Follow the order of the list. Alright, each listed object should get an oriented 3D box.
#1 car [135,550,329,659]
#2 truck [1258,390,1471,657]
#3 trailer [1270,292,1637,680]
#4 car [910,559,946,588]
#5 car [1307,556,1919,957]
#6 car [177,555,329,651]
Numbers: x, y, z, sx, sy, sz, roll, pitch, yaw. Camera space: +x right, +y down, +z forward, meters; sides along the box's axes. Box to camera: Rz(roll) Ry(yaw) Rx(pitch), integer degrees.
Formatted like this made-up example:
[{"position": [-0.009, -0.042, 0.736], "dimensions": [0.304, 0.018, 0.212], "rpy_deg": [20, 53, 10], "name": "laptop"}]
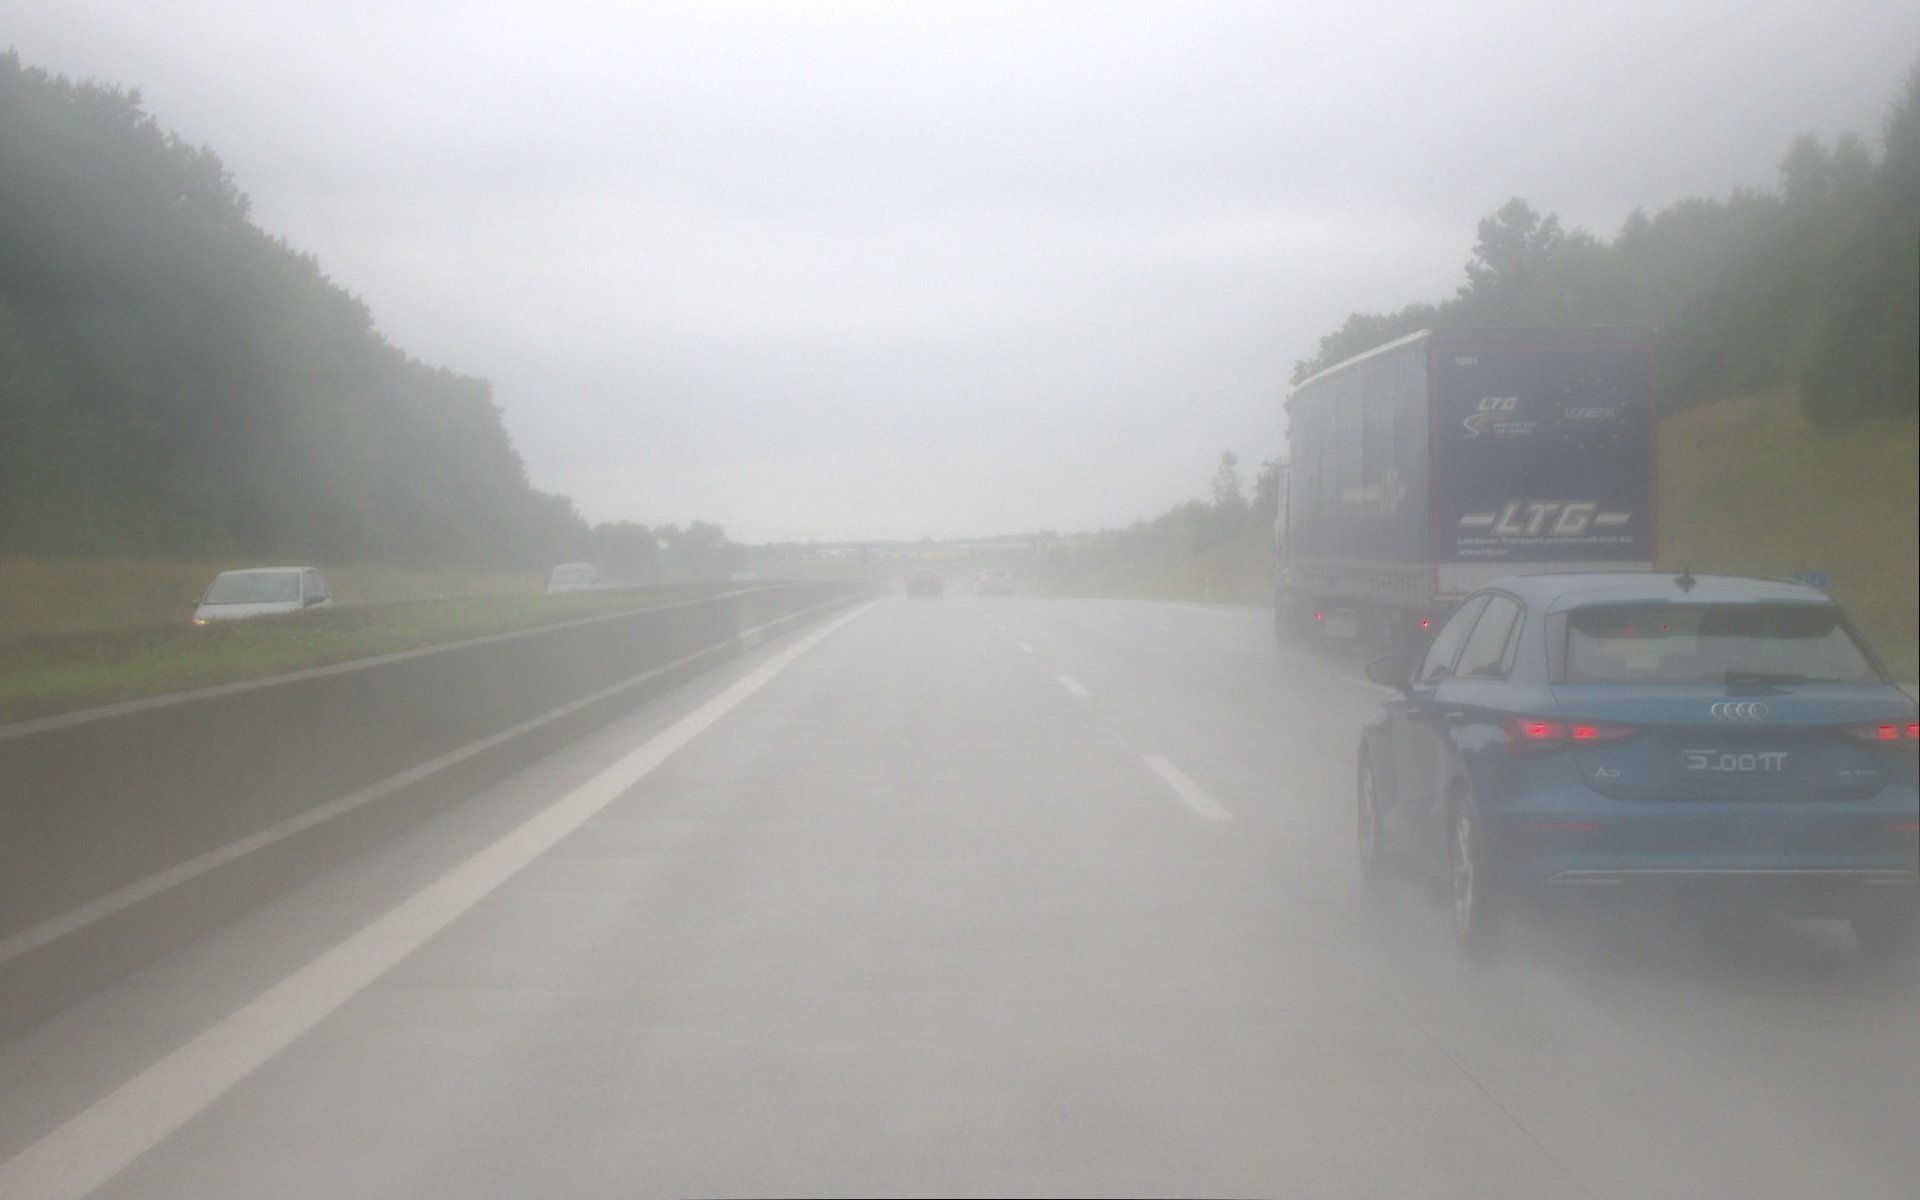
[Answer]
[{"position": [-9.603, 0.028, 45.638], "dimensions": [1.738, 1.329, 4.100], "rpy_deg": [-1, 1, -1], "name": "car"}, {"position": [6.246, -1.168, 53.890], "dimensions": [2.636, 3.940, 5.686], "rpy_deg": [1, 0, 0], "name": "truck"}, {"position": [6.275, -1.358, 46.542], "dimensions": [2.706, 4.364, 15.205], "rpy_deg": [1, 0, 0], "name": "trailer"}, {"position": [-1.541, -1.270, 164.643], "dimensions": [1.729, 1.326, 4.430], "rpy_deg": [0, 1, -1], "name": "car"}, {"position": [2.659, 0.586, 15.023], "dimensions": [1.729, 1.454, 4.672], "rpy_deg": [-1, 0, -1], "name": "car"}, {"position": [-13.076, 0.026, 63.834], "dimensions": [1.879, 1.659, 4.688], "rpy_deg": [-2, 1, -1], "name": "car"}]
